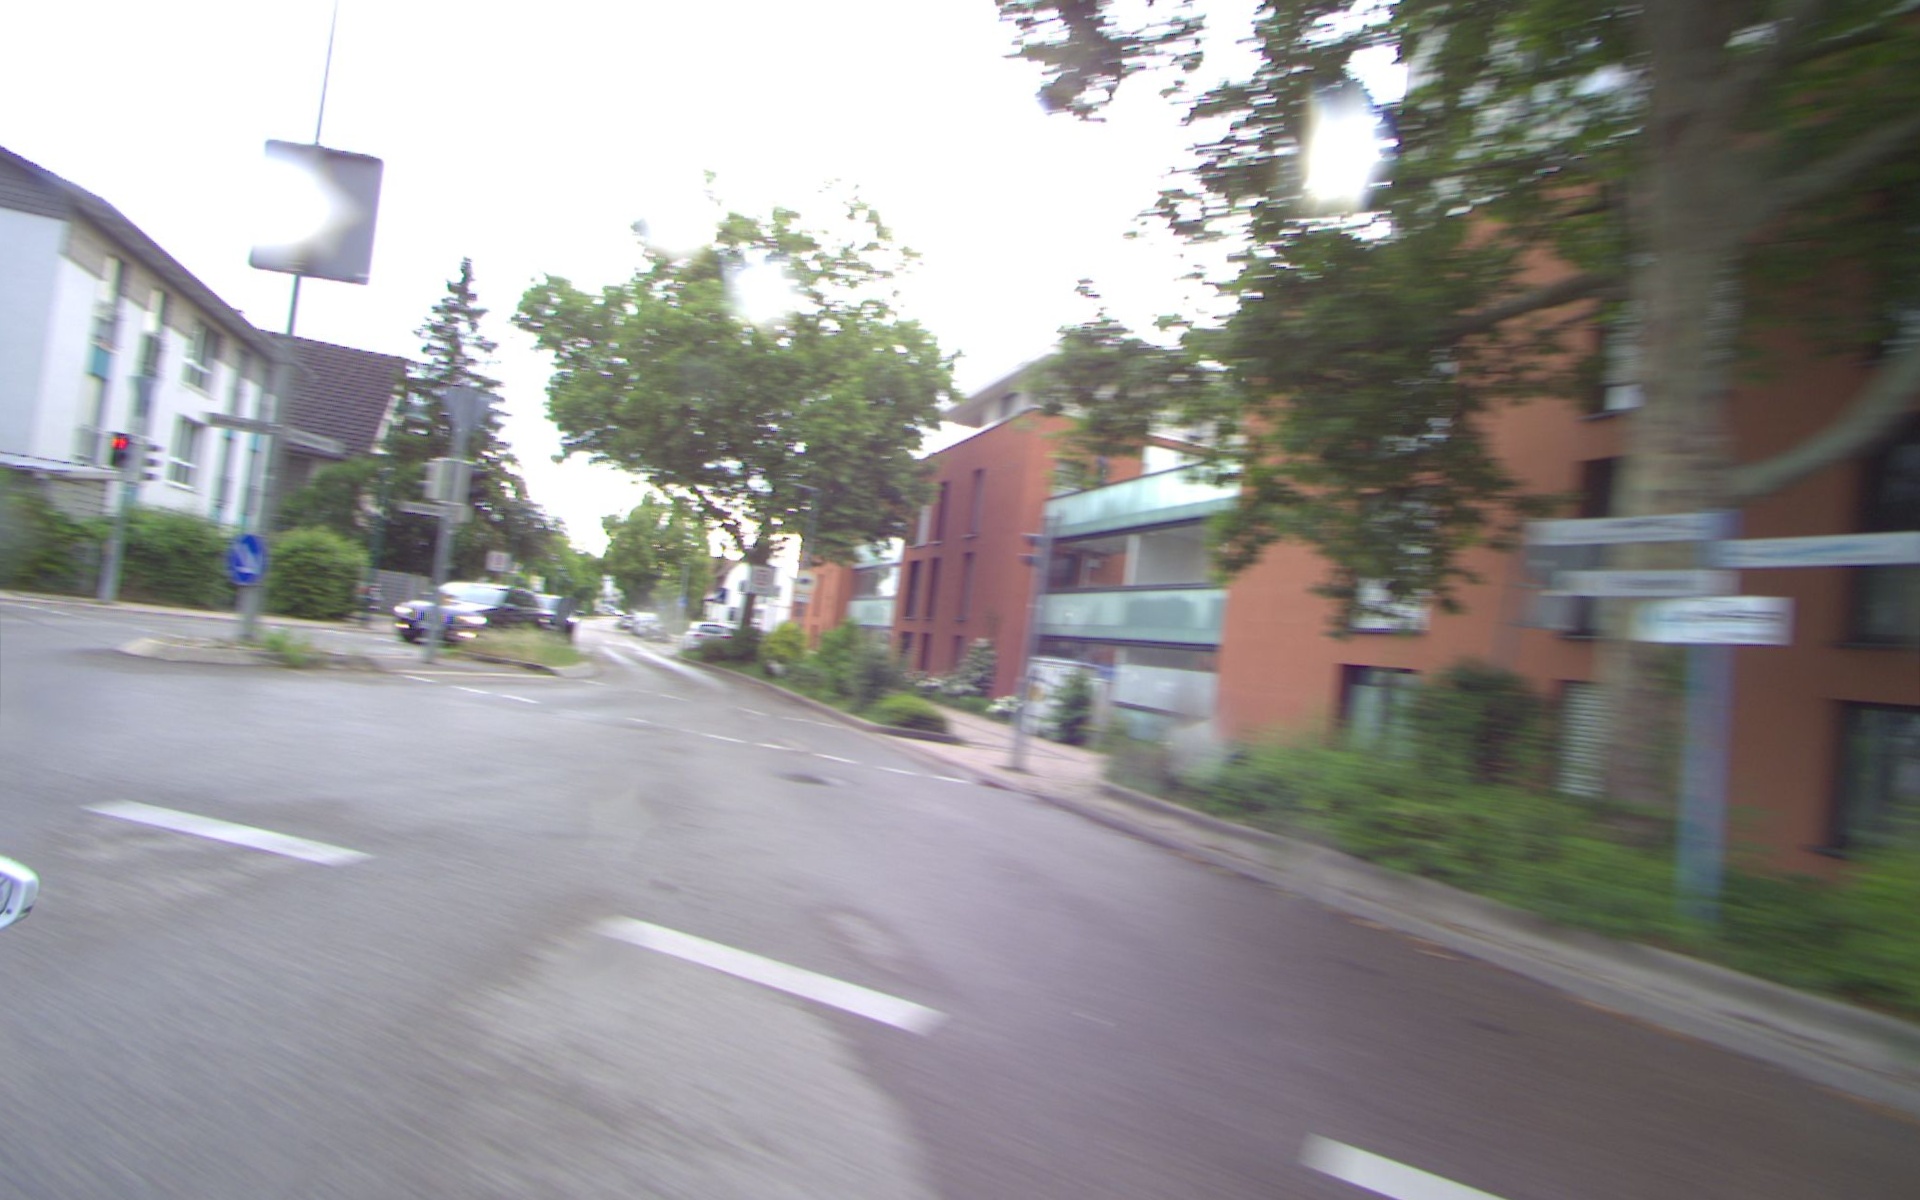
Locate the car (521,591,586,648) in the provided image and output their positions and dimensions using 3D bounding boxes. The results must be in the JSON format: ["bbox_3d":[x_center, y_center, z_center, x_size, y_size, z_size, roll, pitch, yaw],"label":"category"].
[{"bbox_3d":[-14.777,0.678,36.544,1.860,1.687,3.696,9,-3,-22],"label":"car"}]

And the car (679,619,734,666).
[{"bbox_3d":[-10.679,1.735,42.199,1.627,1.530,4.129,9,-2,-20],"label":"car"}]

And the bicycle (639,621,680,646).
[{"bbox_3d":[-19.219,2.155,64.308,2.309,1.236,0.735,9,-1,-13],"label":"bicycle"}]

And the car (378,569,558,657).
[{"bbox_3d":[-10.680,0.379,22.249,1.914,1.467,4.303,9,-4,-4],"label":"car"}]

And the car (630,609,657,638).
[{"bbox_3d":[-25.794,1.901,81.927,1.627,2.040,3.699,9,-2,-20],"label":"car"}]

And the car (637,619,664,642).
[{"bbox_3d":[-23.689,2.289,76.972,1.627,1.390,3.699,9,-2,-20],"label":"car"}]
